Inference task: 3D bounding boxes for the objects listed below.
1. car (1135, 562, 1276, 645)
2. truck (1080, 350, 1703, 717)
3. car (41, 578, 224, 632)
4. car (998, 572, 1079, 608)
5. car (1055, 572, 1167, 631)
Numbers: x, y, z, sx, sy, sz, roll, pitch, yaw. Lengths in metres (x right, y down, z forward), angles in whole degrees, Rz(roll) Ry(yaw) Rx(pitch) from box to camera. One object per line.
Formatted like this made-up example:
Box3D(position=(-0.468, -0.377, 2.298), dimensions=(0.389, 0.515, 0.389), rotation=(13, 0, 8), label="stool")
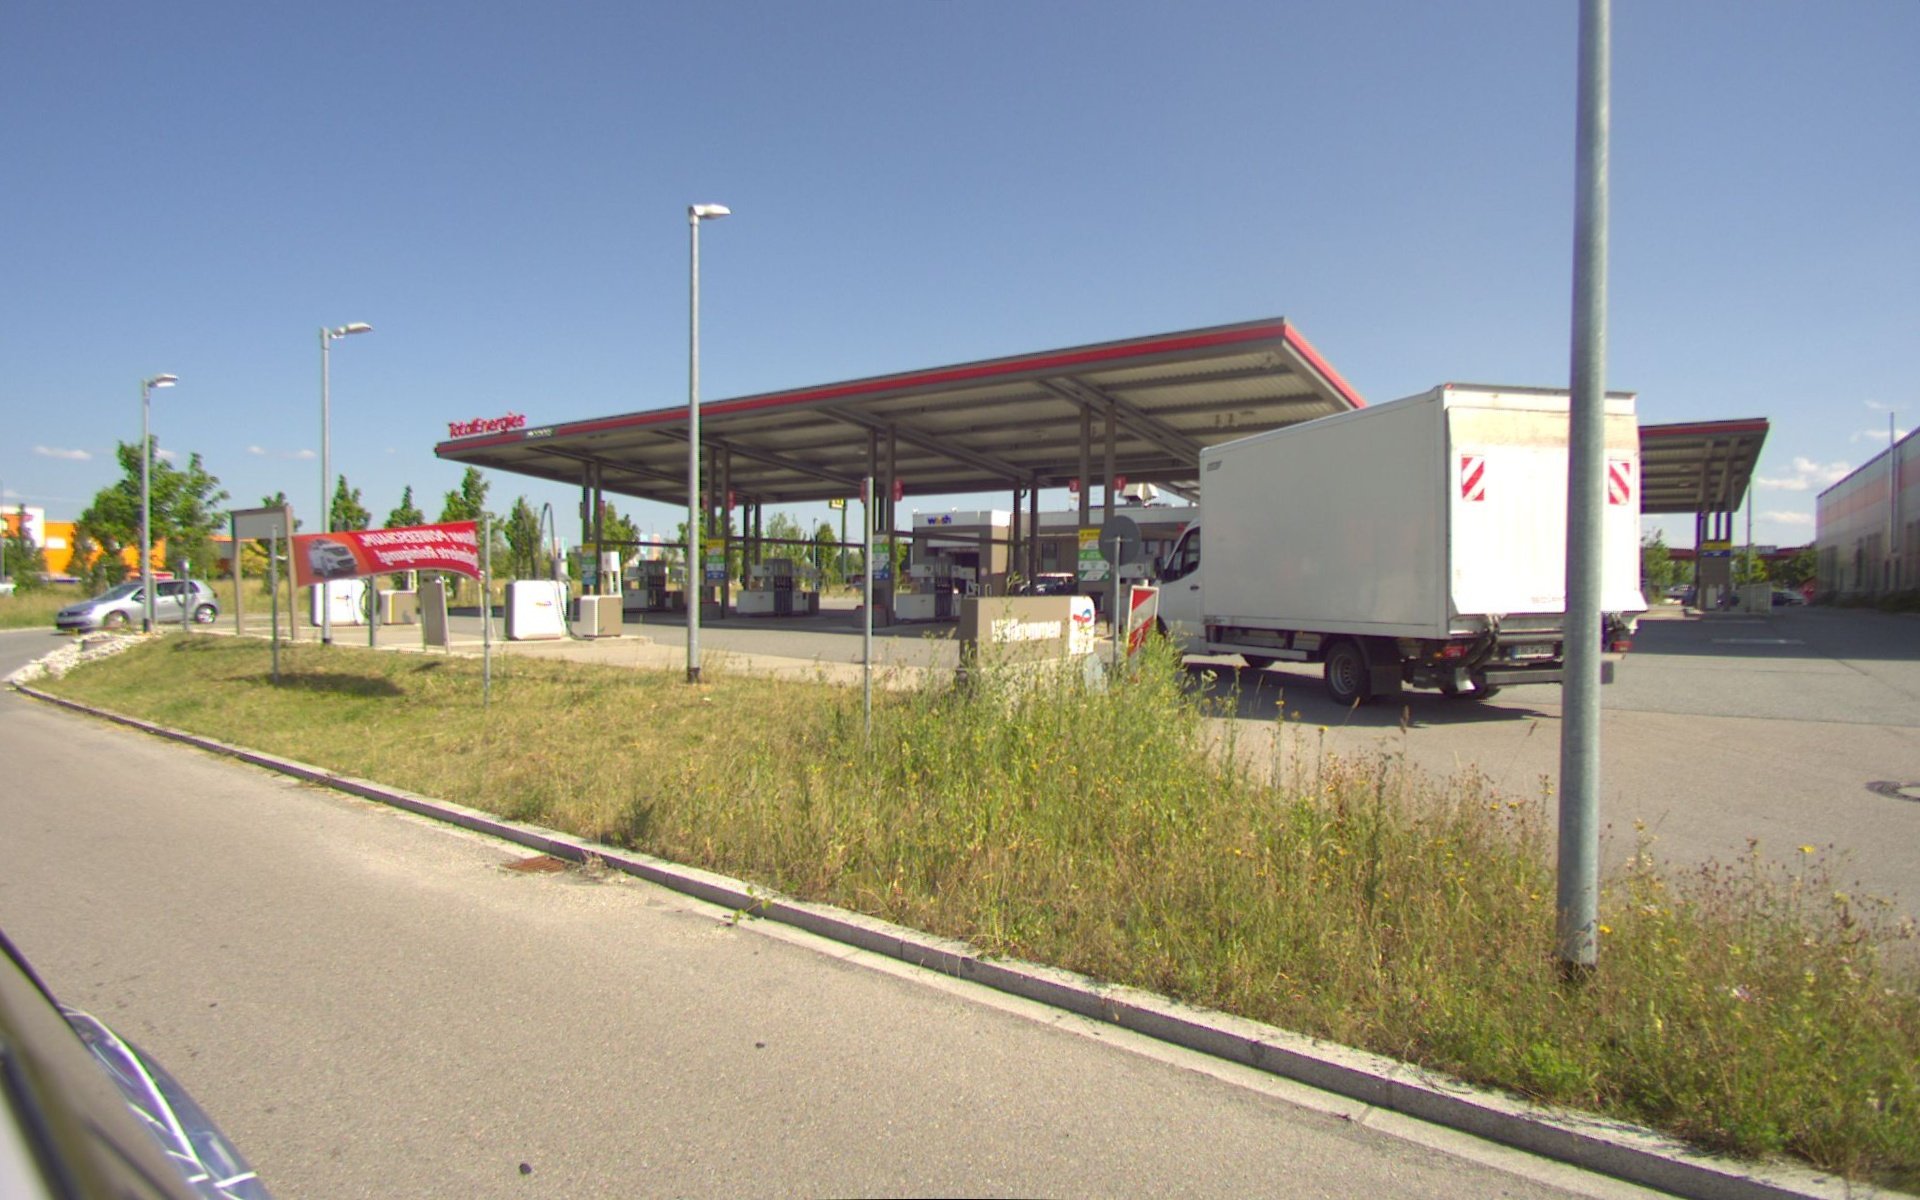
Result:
Box3D(position=(5.878, 0.060, 23.867), dimensions=(1.791, 1.771, 4.469), rotation=(-1, 0, 34), label="car")
Box3D(position=(4.802, -0.610, 12.805), dimensions=(2.598, 3.343, 6.924), rotation=(-1, 0, -34), label="truck")
Box3D(position=(-24.777, 0.198, 30.492), dimensions=(1.734, 1.479, 3.935), rotation=(0, -2, 19), label="car")
Box3D(position=(3.594, -0.455, 45.815), dimensions=(1.697, 1.586, 3.632), rotation=(-1, 0, 45), label="car")
Box3D(position=(4.443, 0.013, 29.368), dimensions=(1.693, 1.586, 3.890), rotation=(-1, 0, 35), label="car")
